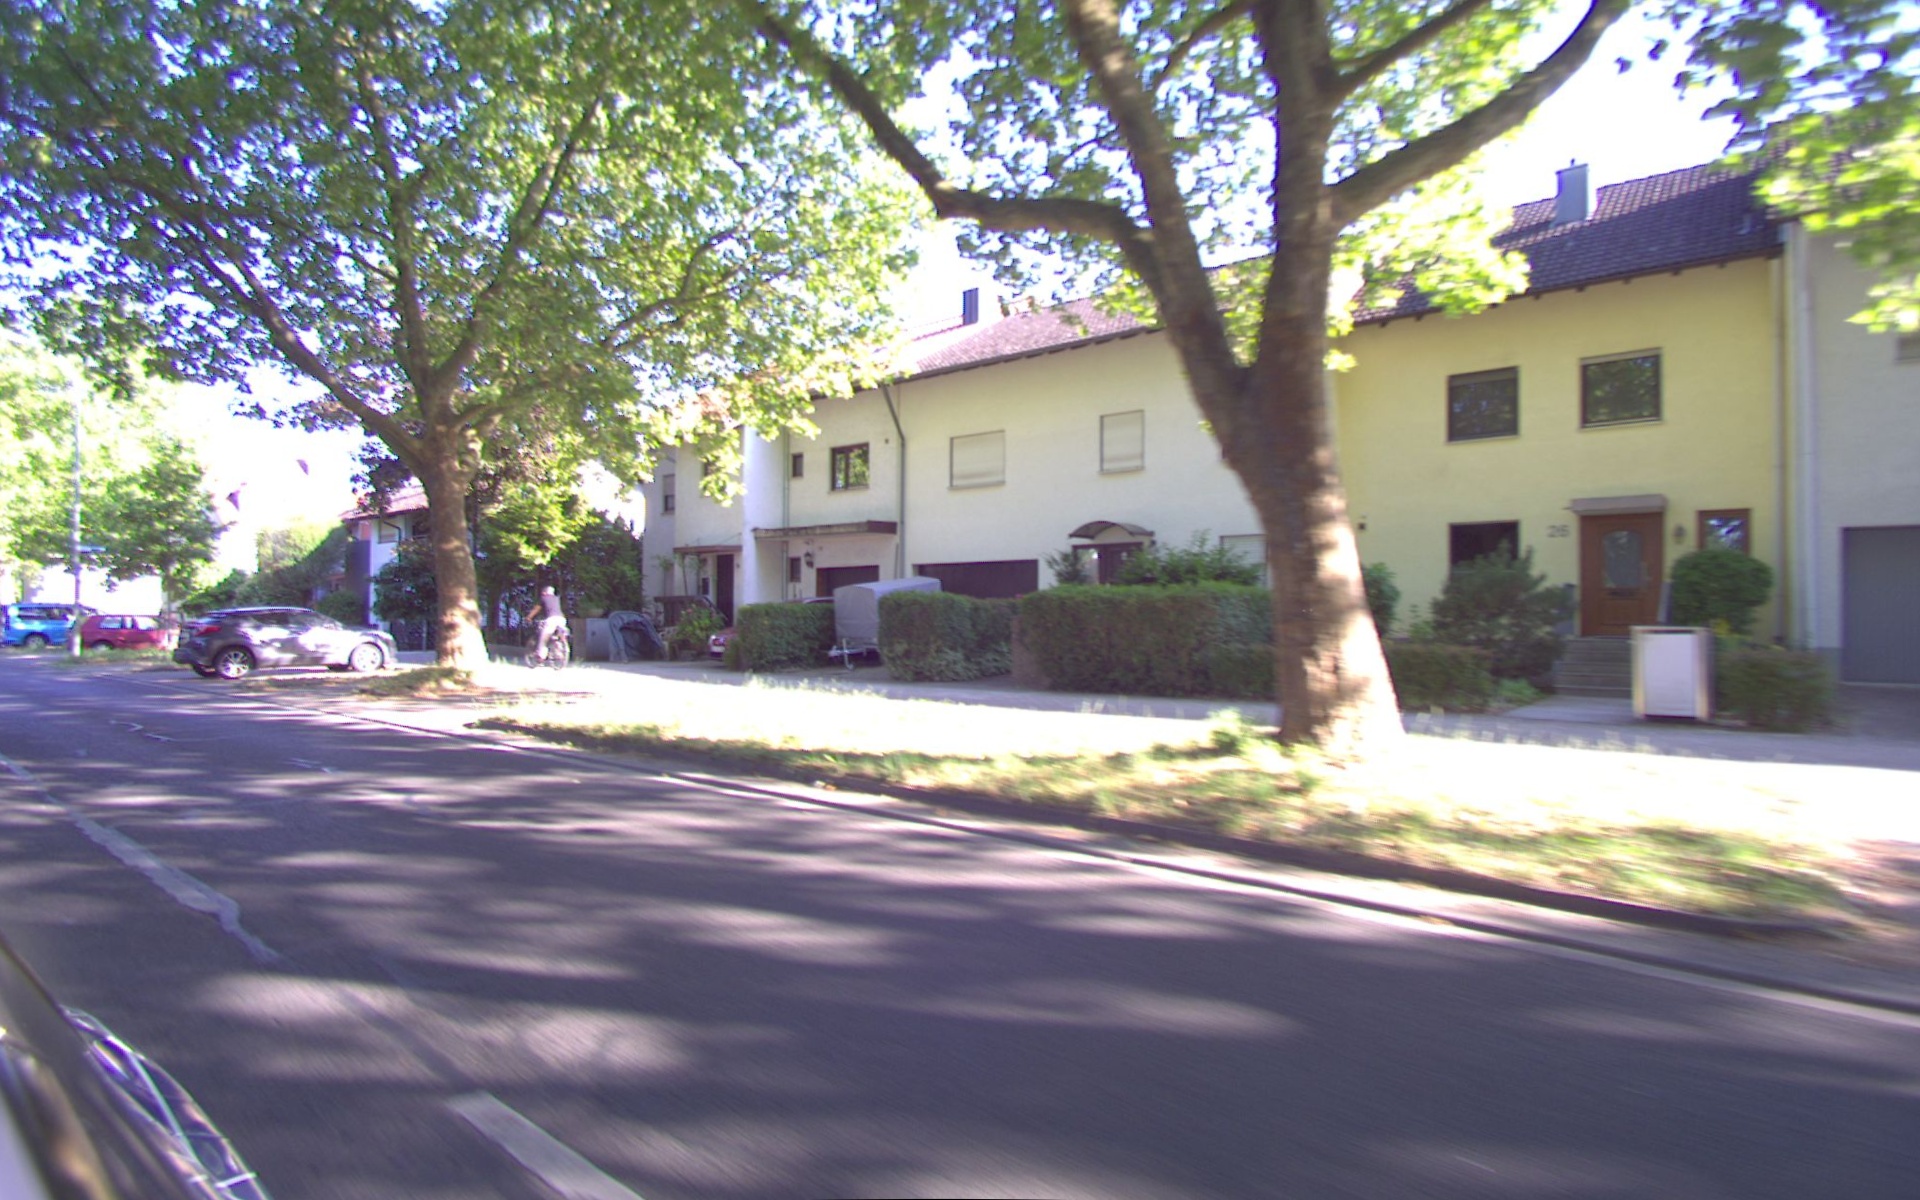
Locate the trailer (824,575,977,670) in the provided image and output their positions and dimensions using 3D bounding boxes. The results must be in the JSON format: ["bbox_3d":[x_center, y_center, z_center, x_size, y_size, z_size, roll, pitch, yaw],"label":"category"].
[{"bbox_3d":[-1.349,0.488,23.879,1.641,1.940,3.420,-3,2,39],"label":"trailer"}]

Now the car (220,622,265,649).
[{"bbox_3d":[-32.540,1.613,45.927,0.699,1.125,1.500,-1,1,38],"label":"car"}]

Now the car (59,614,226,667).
[{"bbox_3d":[-25.888,1.233,32.152,1.661,1.530,3.837,-1,0,36],"label":"car"}]

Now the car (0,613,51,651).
[{"bbox_3d":[-45.562,1.499,47.483,1.828,1.729,4.054,-1,-1,37],"label":"car"}]

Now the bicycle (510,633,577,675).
[{"bbox_3d":[-9.355,1.188,22.678,2.154,0.887,0.465,-1,-1,41],"label":"bicycle"}]

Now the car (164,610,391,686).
[{"bbox_3d":[-15.423,1.021,23.022,1.815,1.530,3.949,-1,-1,39],"label":"car"}]

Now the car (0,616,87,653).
[{"bbox_3d":[-41.333,1.528,44.983,1.722,1.528,3.484,-1,0,33],"label":"car"}]

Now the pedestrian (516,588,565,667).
[{"bbox_3d":[-9.391,0.603,22.657,1.064,1.729,0.610,-1,-1,41],"label":"pedestrian"}]

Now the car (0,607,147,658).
[{"bbox_3d":[-33.884,1.182,38.447,1.991,1.838,4.347,-1,-1,36],"label":"car"}]

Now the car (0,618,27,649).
[{"bbox_3d":[-49.588,1.705,50.518,1.871,1.512,4.125,-1,0,35],"label":"car"}]

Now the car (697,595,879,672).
[{"bbox_3d":[-4.092,0.752,24.545,1.999,1.487,3.947,-1,3,40],"label":"car"}]

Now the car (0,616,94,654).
[{"bbox_3d":[-39.642,1.493,43.358,1.779,1.528,3.608,-1,-1,37],"label":"car"}]
